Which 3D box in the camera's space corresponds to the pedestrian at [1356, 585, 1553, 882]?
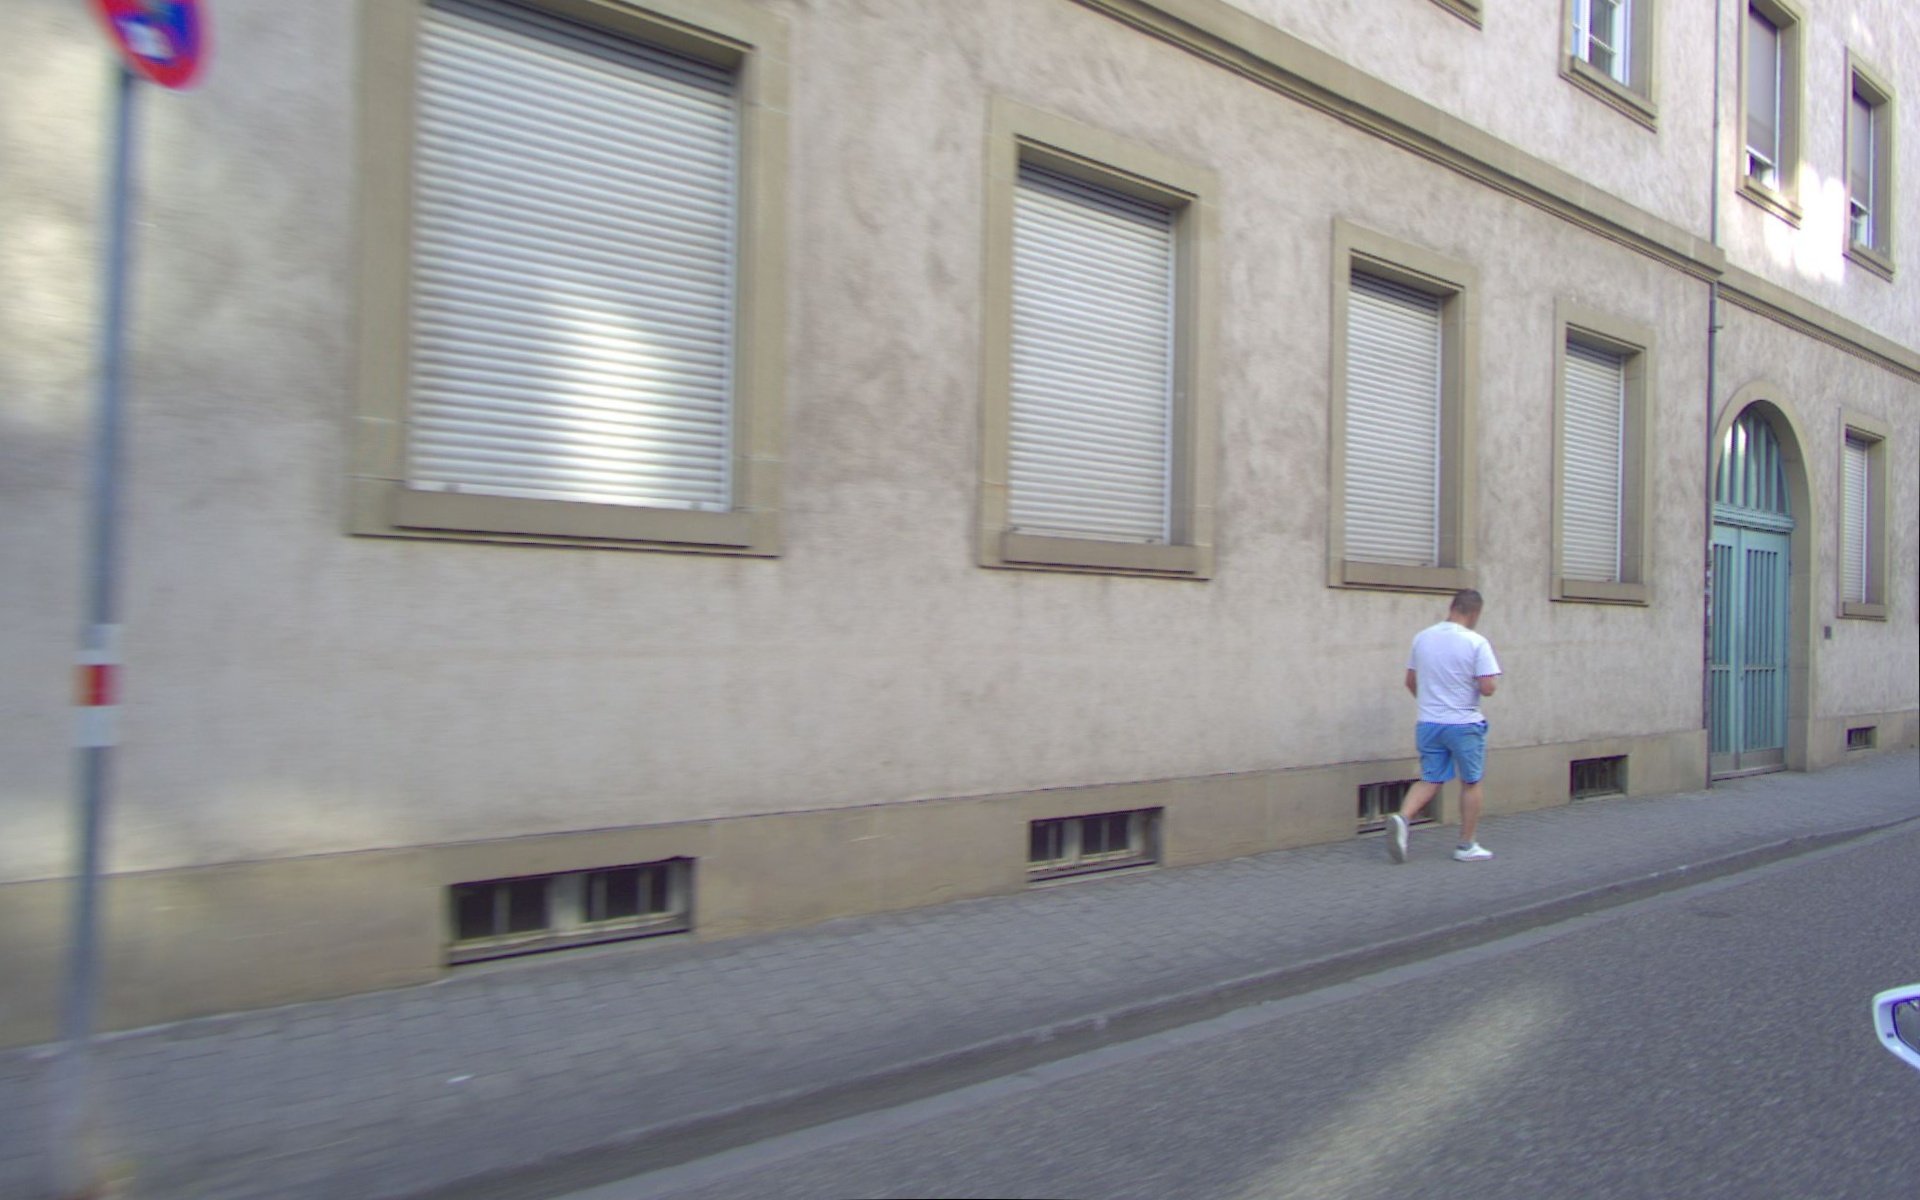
[{"bbox_3d":[3.080,0.776,6.270,0.865,1.692,0.689,2,1,-31],"label":"pedestrian"}]
